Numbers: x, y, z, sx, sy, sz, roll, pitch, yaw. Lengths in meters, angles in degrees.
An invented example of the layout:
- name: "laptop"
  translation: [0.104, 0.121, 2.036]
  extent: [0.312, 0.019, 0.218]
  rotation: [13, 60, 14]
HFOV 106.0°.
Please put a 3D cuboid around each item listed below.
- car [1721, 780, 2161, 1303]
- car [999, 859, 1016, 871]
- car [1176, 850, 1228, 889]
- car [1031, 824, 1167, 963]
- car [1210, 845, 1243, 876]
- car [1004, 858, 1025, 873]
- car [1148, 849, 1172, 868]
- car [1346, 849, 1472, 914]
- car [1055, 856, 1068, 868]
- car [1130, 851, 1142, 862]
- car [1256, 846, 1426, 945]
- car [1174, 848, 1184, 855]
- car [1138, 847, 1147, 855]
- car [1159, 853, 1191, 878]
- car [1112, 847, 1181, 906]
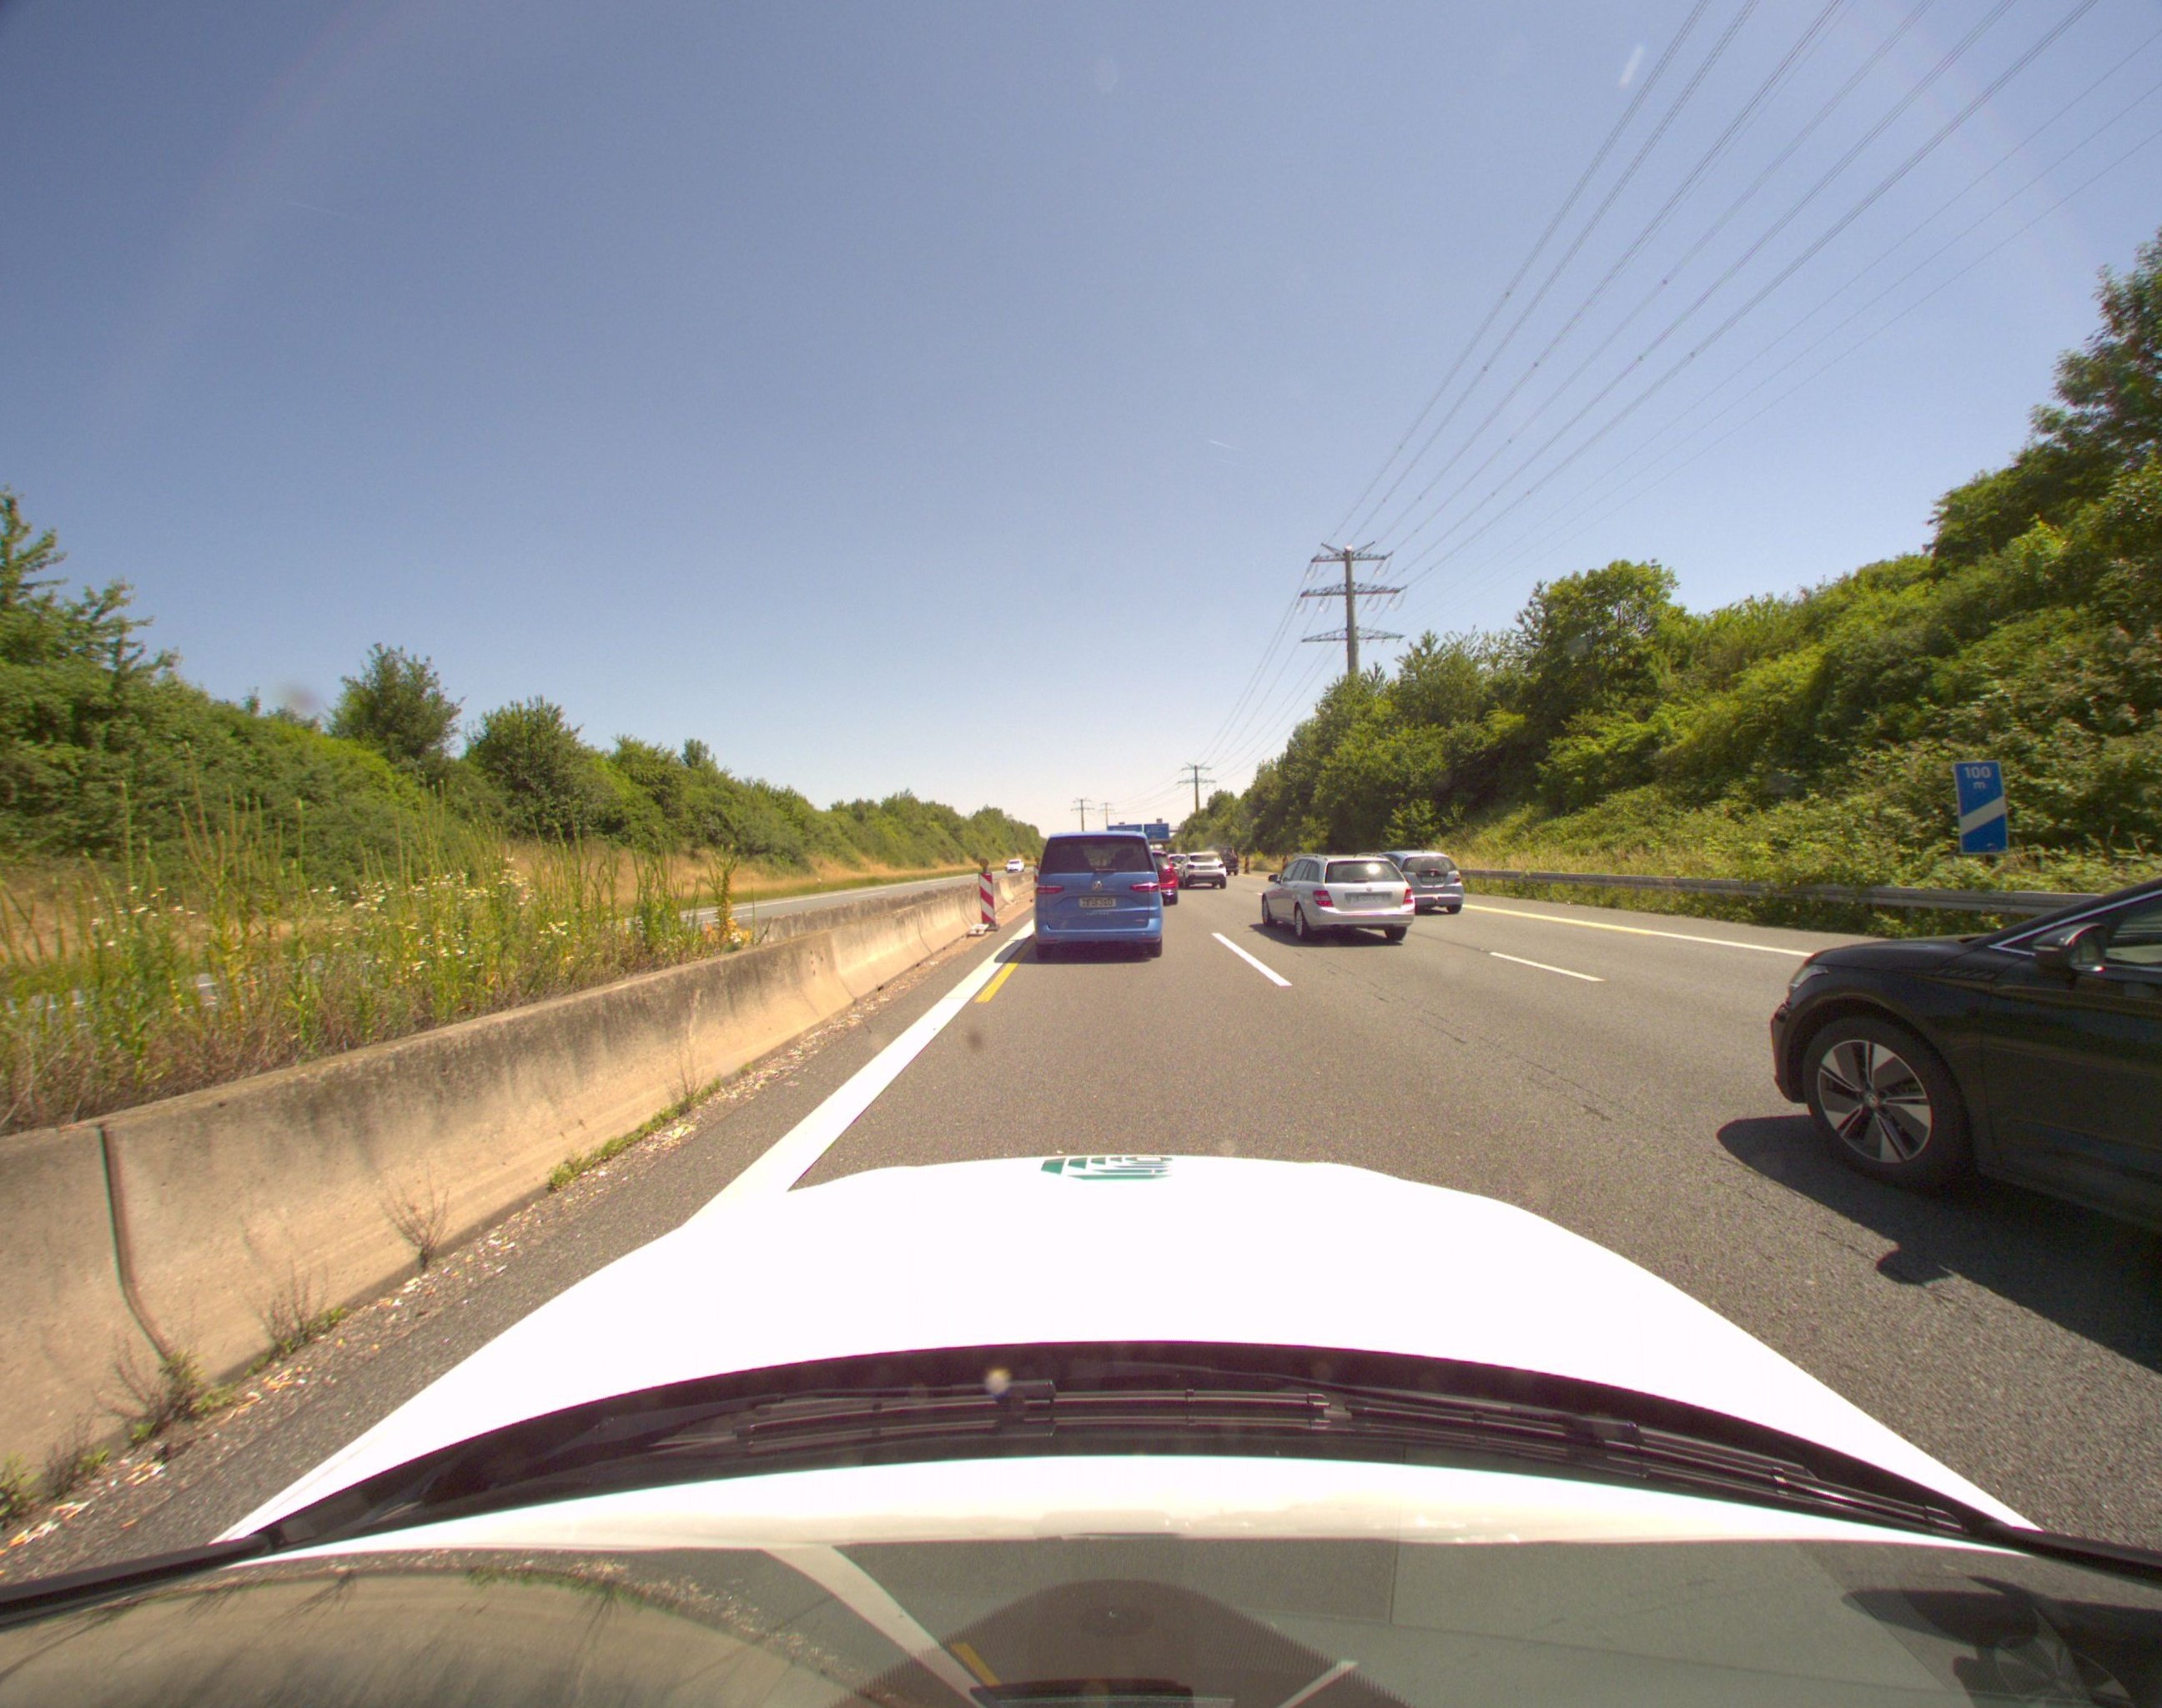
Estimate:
- name: "car"
  translation: [4.259, 0.587, 2.158]
  extent: [1.695, 1.655, 4.430]
  rotation: [0, 0, 1]
- name: "car"
  translation: [-11.475, 1.672, 127.233]
  extent: [1.986, 1.650, 4.632]
  rotation: [-4, 0, 2]
- name: "car"
  translation: [5.217, 0.631, 35.643]
  extent: [1.791, 1.594, 4.228]
  rotation: [0, 0, 2]
- name: "car"
  translation: [0.289, 0.559, 13.460]
  extent: [1.868, 1.912, 4.360]
  rotation: [0, 0, 1]
- name: "car"
  translation: [10.003, 0.428, 56.158]
  extent: [1.789, 2.014, 4.231]
  rotation: [0, 0, 4]
- name: "car"
  translation: [-8.162, 1.360, 100.327]
  extent: [1.986, 1.662, 4.231]
  rotation: [-3, 0, 2]
- name: "car"
  translation: [6.746, 0.391, 69.781]
  extent: [1.791, 1.594, 4.228]
  rotation: [0, 0, 2]
- name: "car"
  translation: [7.999, 0.623, 20.232]
  extent: [1.694, 1.448, 3.789]
  rotation: [0, 0, 2]
- name: "car"
  translation: [-2.930, 1.173, 123.379]
  extent: [1.767, 1.699, 4.171]
  rotation: [0, 0, 1]
- name: "car"
  translation: [8.414, 0.343, 124.913]
  extent: [1.791, 1.594, 4.228]
  rotation: [0, 0, 2]
- name: "car"
  translation: [4.490, 0.655, 14.775]
  extent: [1.764, 1.517, 4.360]
  rotation: [0, 0, 1]
- name: "car"
  translation: [24.817, -0.552, 206.461]
  extent: [1.868, 1.671, 4.360]
  rotation: [0, 0, 1]
- name: "car"
  translation: [18.035, -0.896, 237.629]
  extent: [2.368, 2.428, 4.228]
  rotation: [0, 0, 2]
- name: "car"
  translation: [6.283, 0.761, 54.545]
  extent: [1.791, 1.594, 4.228]
  rotation: [0, 0, 2]
- name: "car"
  translation: [1.954, 0.659, 25.435]
  extent: [1.868, 1.671, 4.360]
  rotation: [0, 0, 1]
